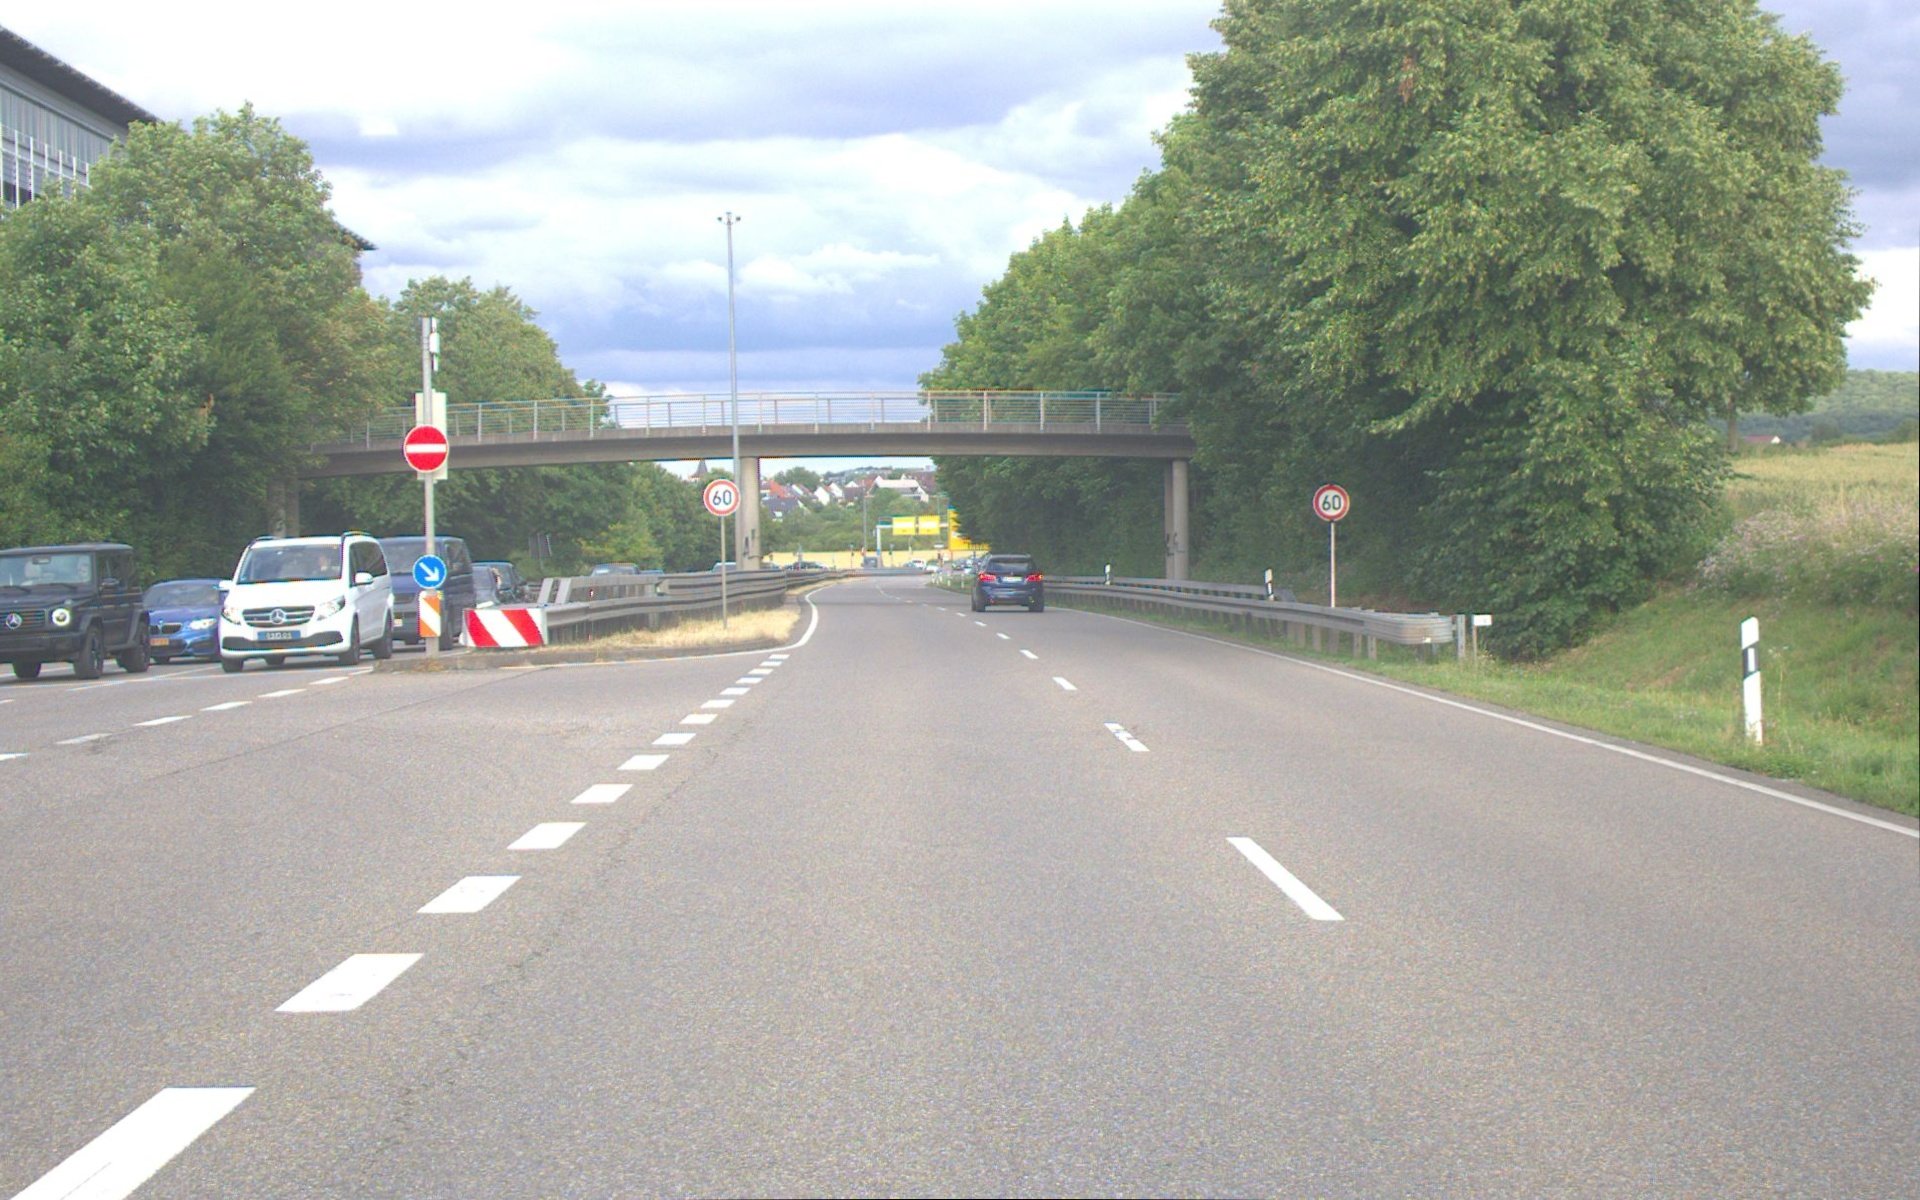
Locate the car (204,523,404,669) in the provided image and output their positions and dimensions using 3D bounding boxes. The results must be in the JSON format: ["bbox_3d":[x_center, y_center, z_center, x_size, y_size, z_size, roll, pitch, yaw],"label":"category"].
[{"bbox_3d":[-9.569,-0.074,50.555,2.083,2.007,5.217,1,0,-2],"label":"car"}]

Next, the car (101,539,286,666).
[{"bbox_3d":[-12.846,0.017,57.941,2.083,2.007,5.217,1,0,-2],"label":"car"}]

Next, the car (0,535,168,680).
[{"bbox_3d":[-13.203,0.075,50.440,2.083,2.007,5.217,1,0,-2],"label":"car"}]

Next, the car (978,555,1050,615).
[{"bbox_3d":[1.432,-0.420,92.552,1.879,1.547,4.000,1,0,0],"label":"car"}]

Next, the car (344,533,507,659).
[{"bbox_3d":[-9.003,-0.089,58.293,2.083,2.007,5.217,1,0,-2],"label":"car"}]
